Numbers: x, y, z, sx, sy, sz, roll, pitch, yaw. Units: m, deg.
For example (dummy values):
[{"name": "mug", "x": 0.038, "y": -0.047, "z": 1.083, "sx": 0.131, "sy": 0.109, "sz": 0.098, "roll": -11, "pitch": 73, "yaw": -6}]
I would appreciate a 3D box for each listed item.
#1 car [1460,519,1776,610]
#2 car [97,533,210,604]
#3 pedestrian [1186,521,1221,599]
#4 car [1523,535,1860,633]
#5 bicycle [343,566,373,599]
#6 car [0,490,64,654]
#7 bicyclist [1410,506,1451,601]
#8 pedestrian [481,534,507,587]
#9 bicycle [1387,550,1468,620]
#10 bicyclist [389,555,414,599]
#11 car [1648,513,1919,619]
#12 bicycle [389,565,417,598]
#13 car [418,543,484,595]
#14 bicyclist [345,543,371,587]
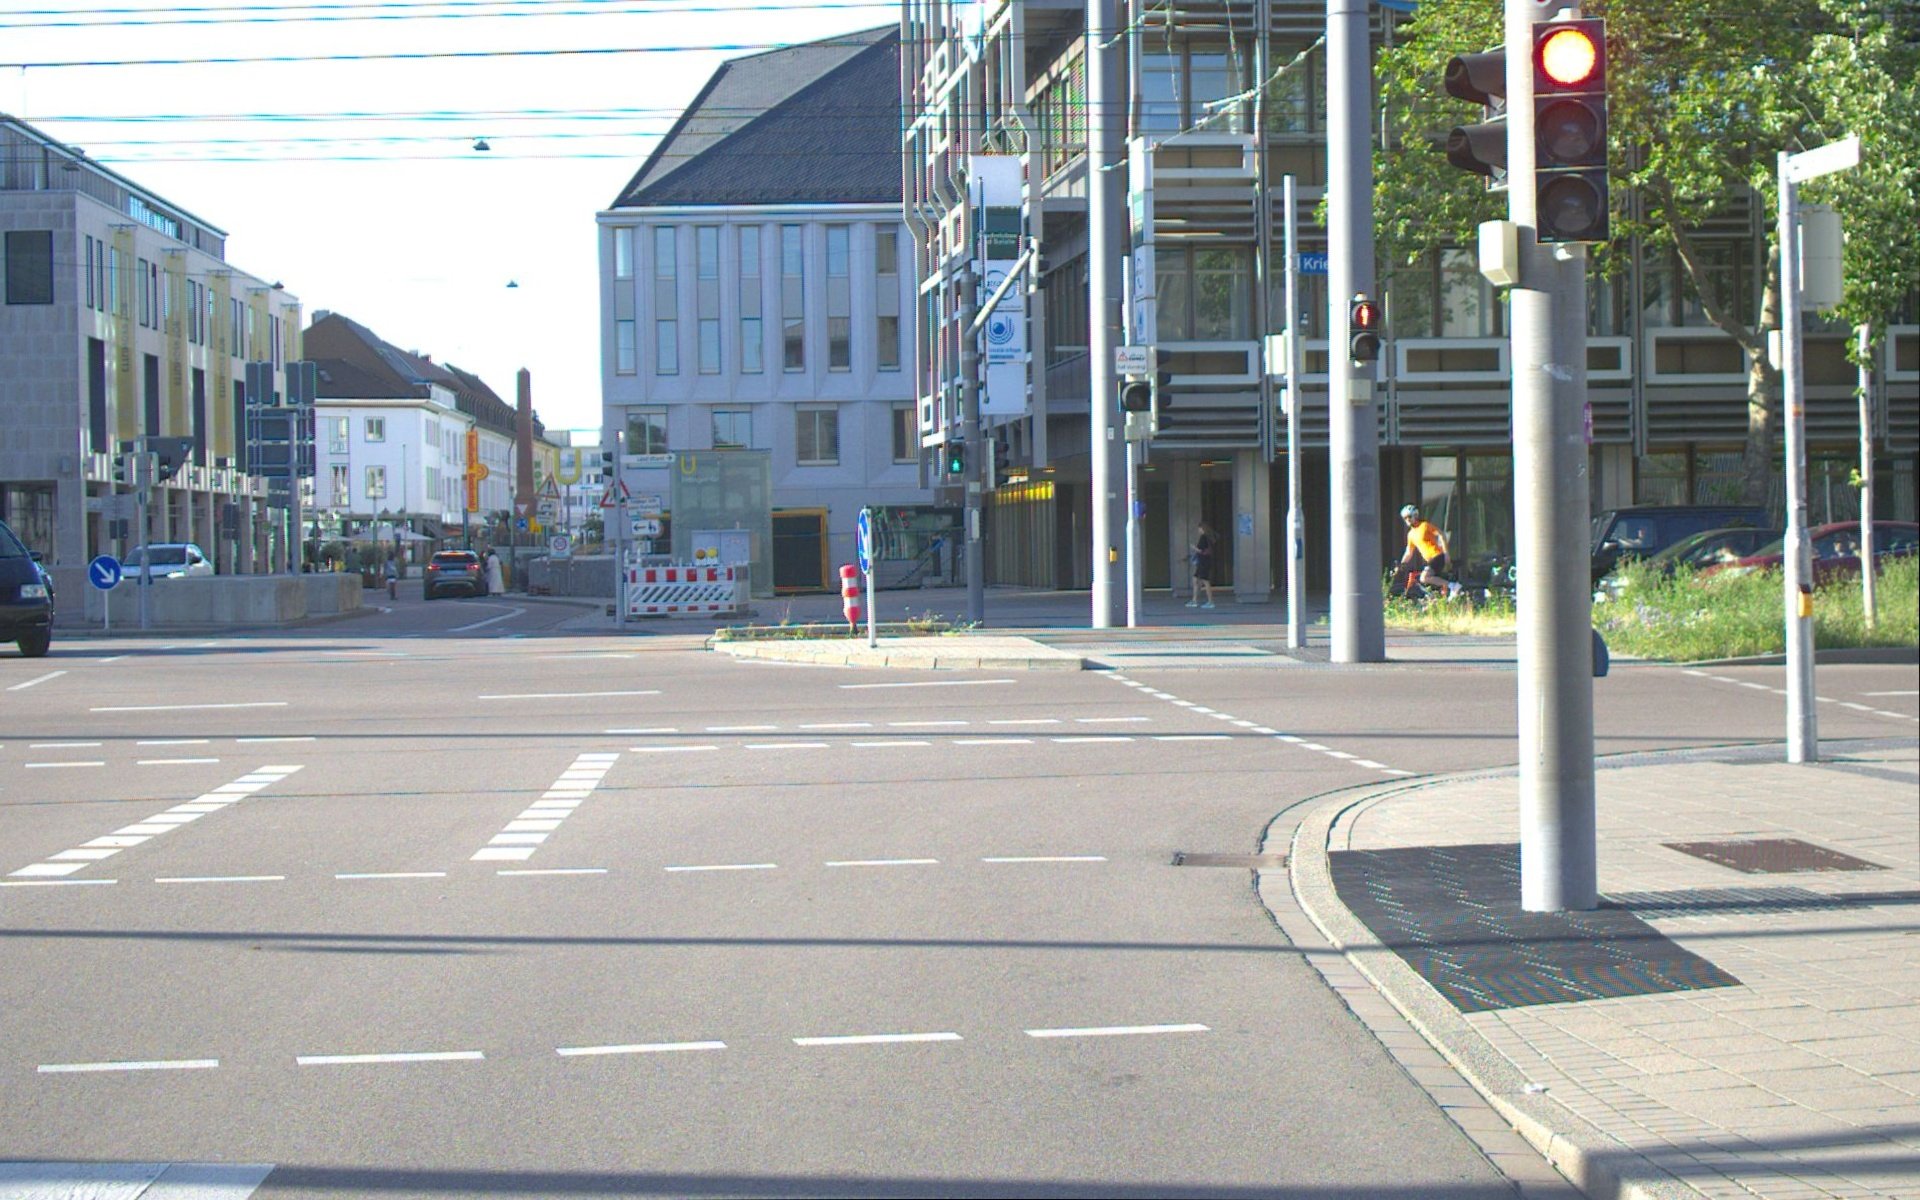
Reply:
[{"name": "car", "x": 10.549, "y": -0.587, "z": 55.315, "sx": 4.630, "sy": 1.351, "sz": 2.001, "roll": -1, "pitch": 3, "yaw": -5}, {"name": "car", "x": -19.329, "y": -0.786, "z": 82.548, "sx": 1.993, "sy": 1.617, "sz": 4.239, "roll": -1, "pitch": 1, "yaw": -4}, {"name": "pedestrian", "x": 4.779, "y": -0.797, "z": 67.466, "sx": 0.623, "sy": 1.513, "sz": 0.653, "roll": -1, "pitch": 1, "yaw": 7}, {"name": "car", "x": 11.112, "y": -0.255, "z": 52.406, "sx": 4.630, "sy": 1.351, "sz": 2.001, "roll": -1, "pitch": 3, "yaw": -5}, {"name": "bicycle", "x": -19.970, "y": -0.600, "z": 114.083, "sx": 0.741, "sy": 1.042, "sz": 2.432, "roll": -1, "pitch": 1, "yaw": -5}, {"name": "car", "x": -11.695, "y": -0.356, "z": 39.381, "sx": 1.993, "sy": 1.736, "sz": 4.647, "roll": -2, "pitch": 3, "yaw": -24}, {"name": "bicyclist", "x": 6.652, "y": -0.655, "z": 48.575, "sx": 0.508, "sy": 1.333, "sz": 0.452, "roll": -1, "pitch": 1, "yaw": 1}, {"name": "pedestrian", "x": -14.864, "y": -1.262, "z": 109.701, "sx": 0.714, "sy": 1.662, "sz": 0.987, "roll": -1, "pitch": 1, "yaw": -3}, {"name": "bicycle", "x": 6.605, "y": -0.219, "z": 48.580, "sx": 1.076, "sy": 0.967, "sz": 0.458, "roll": -1, "pitch": 1, "yaw": 1}, {"name": "bicyclist", "x": -18.700, "y": -0.780, "z": 115.136, "sx": 0.746, "sy": 1.456, "sz": 0.767, "roll": -1, "pitch": 1, "yaw": -4}, {"name": "car", "x": 12.100, "y": -0.497, "z": 47.701, "sx": 4.630, "sy": 1.351, "sz": 2.001, "roll": -1, "pitch": 3, "yaw": -5}, {"name": "bicycle", "x": -18.660, "y": -0.629, "z": 115.168, "sx": 0.741, "sy": 1.042, "sz": 2.432, "roll": -1, "pitch": 1, "yaw": -5}, {"name": "car", "x": -16.205, "y": -1.007, "z": 109.613, "sx": 1.993, "sy": 1.546, "sz": 4.001, "roll": -1, "pitch": 1, "yaw": -8}, {"name": "bicyclist", "x": -19.971, "y": -1.163, "z": 114.098, "sx": 0.746, "sy": 1.456, "sz": 0.767, "roll": -1, "pitch": 1, "yaw": -4}]
